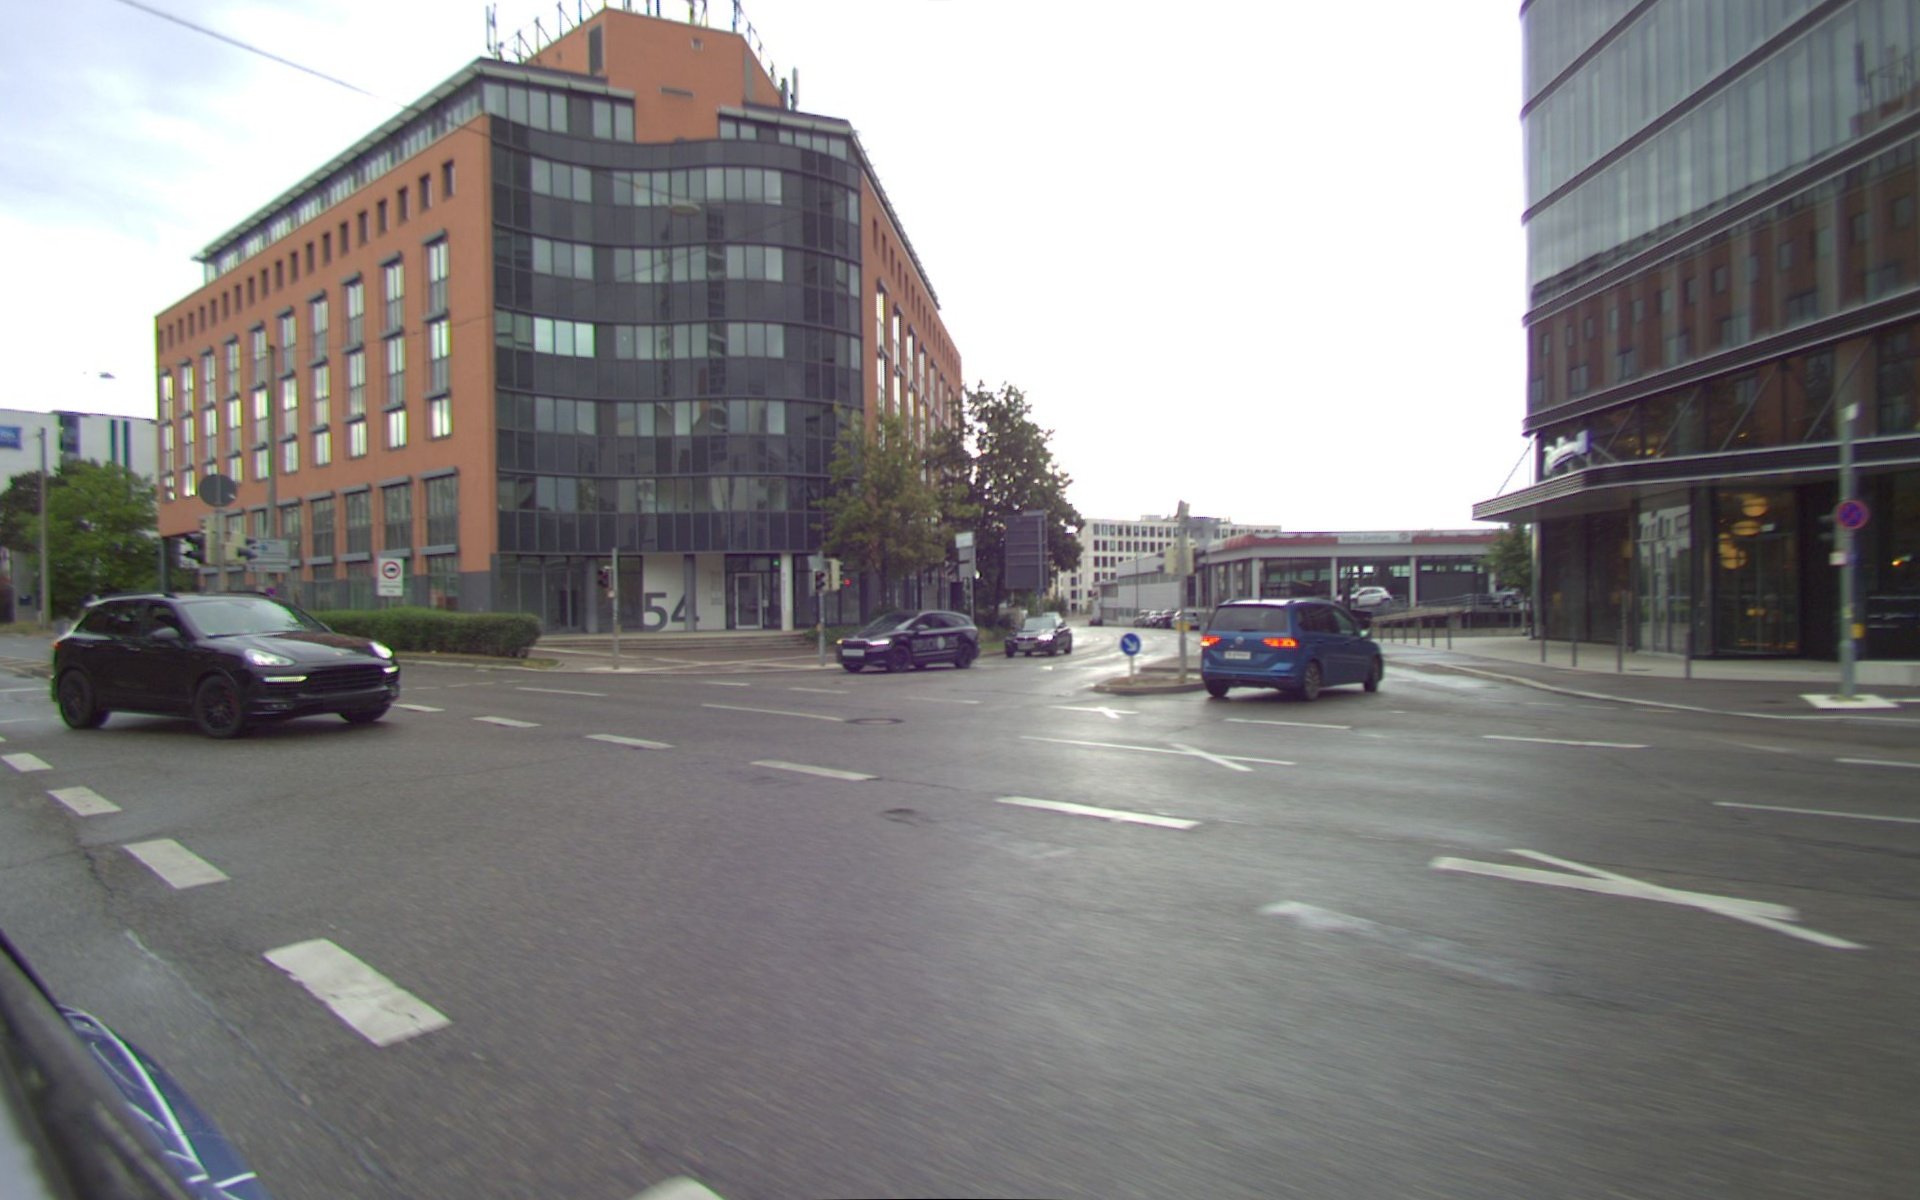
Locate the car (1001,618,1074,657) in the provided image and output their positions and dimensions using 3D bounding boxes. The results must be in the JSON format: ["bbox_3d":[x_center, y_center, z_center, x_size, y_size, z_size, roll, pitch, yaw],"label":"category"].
[{"bbox_3d":[2.887,1.338,36.982,1.837,1.373,3.977,0,-1,17],"label":"car"}]

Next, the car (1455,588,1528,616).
[{"bbox_3d":[36.054,0.169,68.736,3.946,1.863,1.799,0,-1,2],"label":"car"}]

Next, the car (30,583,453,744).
[{"bbox_3d":[-9.015,0.695,12.610,5.395,1.679,1.983,-1,0,26],"label":"car"}]

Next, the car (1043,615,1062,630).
[{"bbox_3d":[9.525,2.353,104.573,1.776,1.522,3.997,-1,-1,2],"label":"car"}]

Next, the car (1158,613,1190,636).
[{"bbox_3d":[18.282,2.117,86.696,1.973,1.918,3.997,-1,-1,2],"label":"car"}]

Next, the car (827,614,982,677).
[{"bbox_3d":[-1.375,1.165,26.883,1.852,1.522,4.321,-2,-2,35],"label":"car"}]

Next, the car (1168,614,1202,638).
[{"bbox_3d":[18.088,2.061,81.598,1.973,1.918,3.997,-1,-1,2],"label":"car"}]

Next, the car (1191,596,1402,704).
[{"bbox_3d":[5.793,0.785,17.170,1.779,1.608,4.136,-1,-2,44],"label":"car"}]

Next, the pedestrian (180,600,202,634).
[{"bbox_3d":[-43.454,0.945,57.154,0.884,1.855,0.739,-1,1,38],"label":"pedestrian"}]

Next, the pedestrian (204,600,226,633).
[{"bbox_3d":[-42.498,0.926,57.702,0.884,1.855,0.739,-1,1,38],"label":"pedestrian"}]

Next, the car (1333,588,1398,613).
[{"bbox_3d":[28.068,0.042,70.200,3.765,1.662,1.816,0,-1,2],"label":"car"}]

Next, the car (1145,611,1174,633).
[{"bbox_3d":[18.281,2.027,92.775,1.973,1.918,3.997,-1,-1,2],"label":"car"}]

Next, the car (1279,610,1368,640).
[{"bbox_3d":[22.797,1.559,63.615,4.941,1.829,1.794,0,-1,7],"label":"car"}]
